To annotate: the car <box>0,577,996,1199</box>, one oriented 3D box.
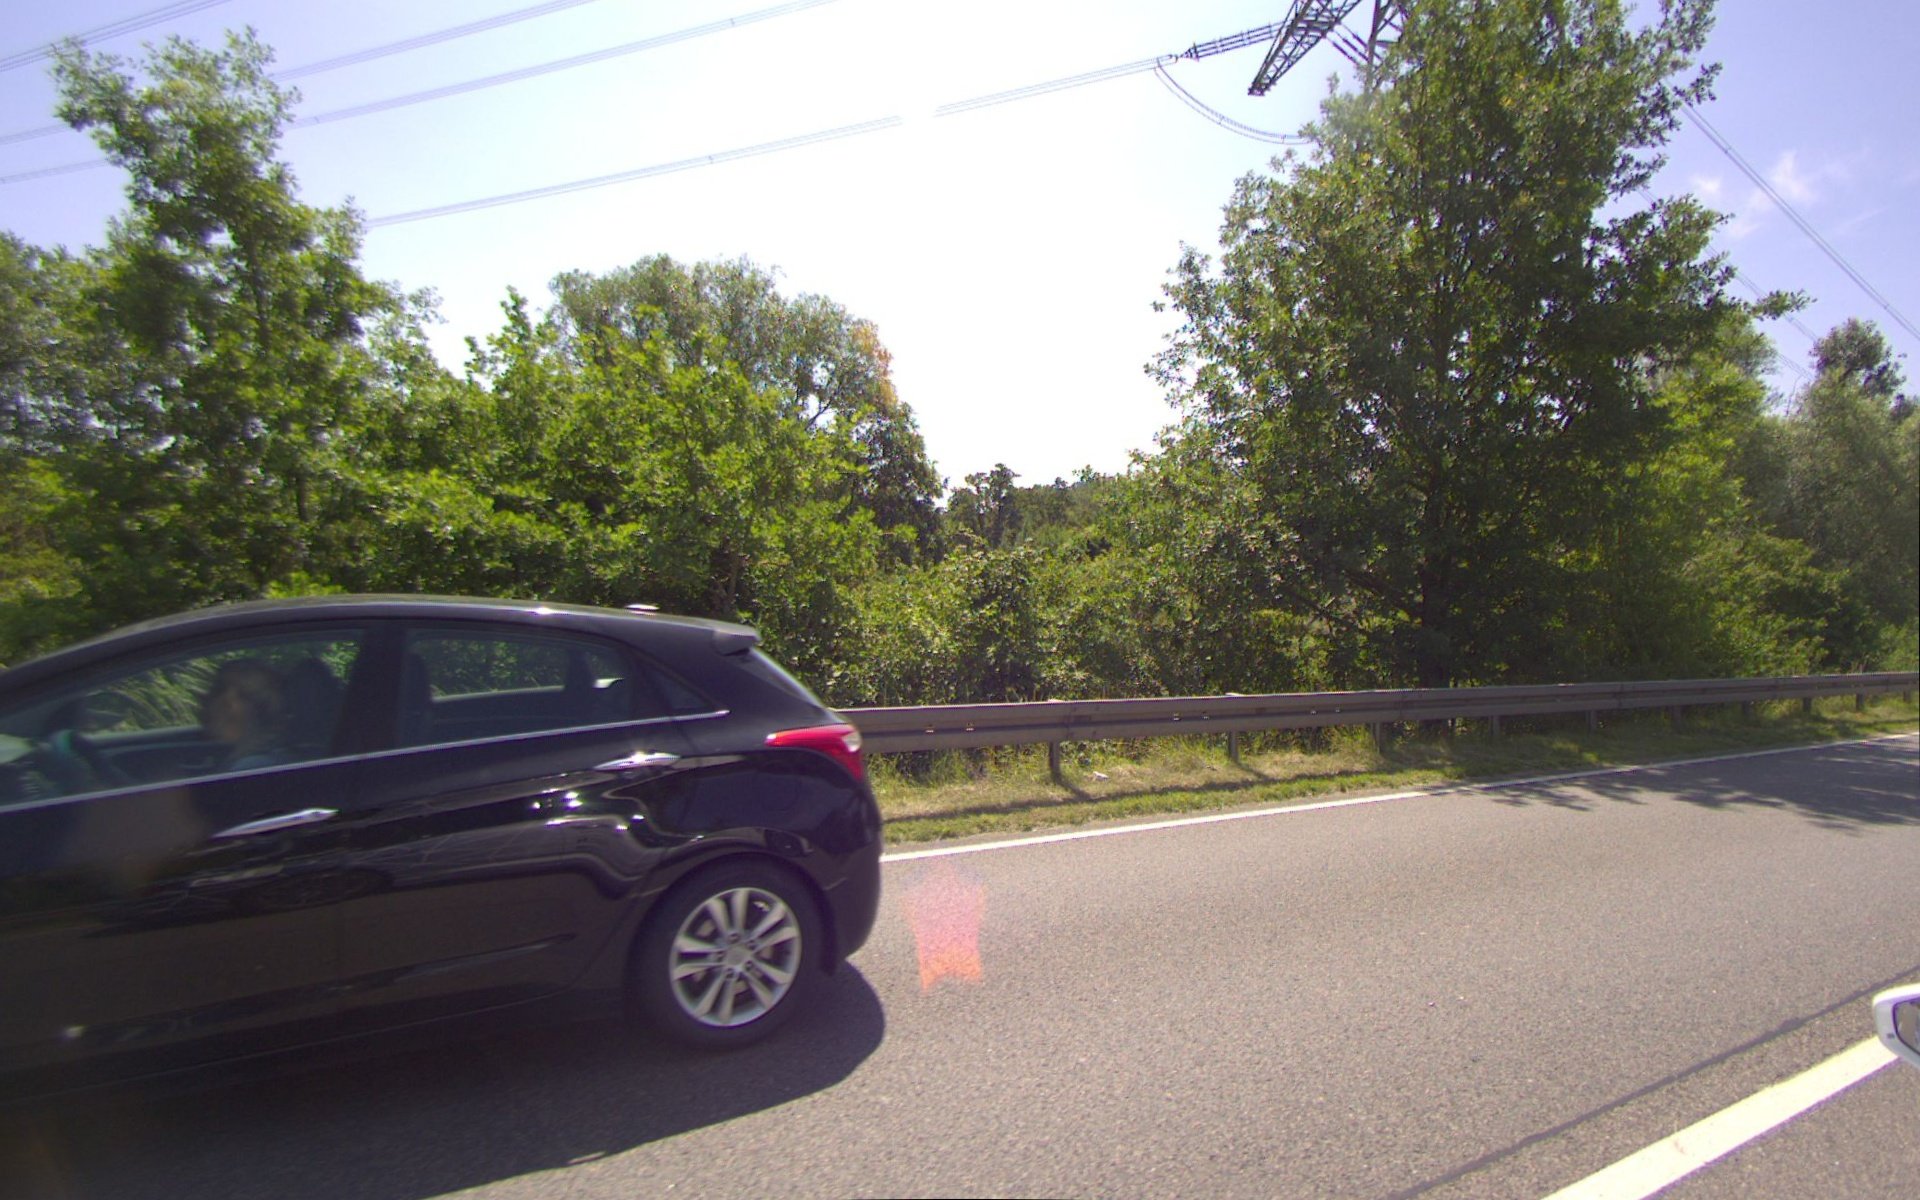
[{"bbox_3d":[-2.025,0.692,3.471,3.952,1.474,1.792,1,0,-30],"label":"car"}]
